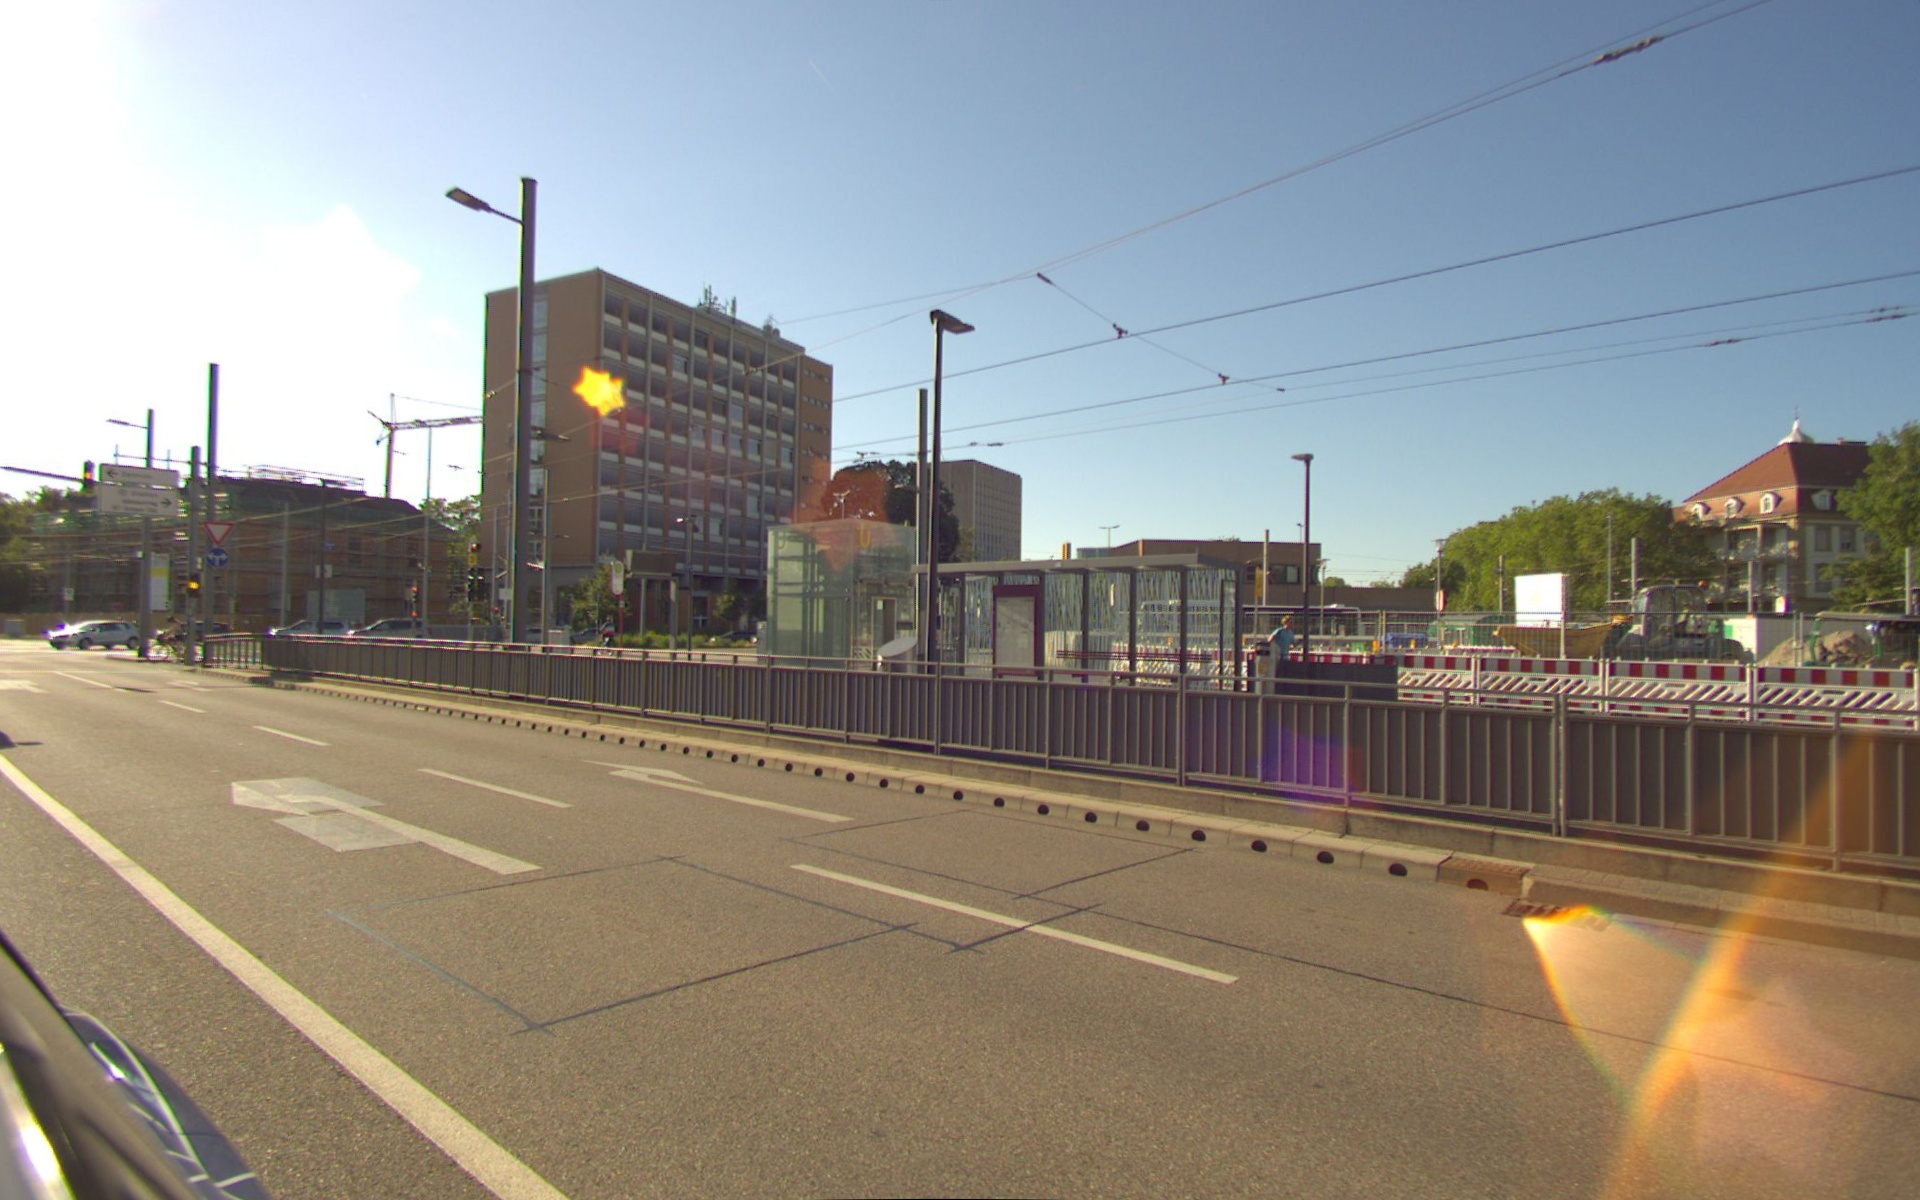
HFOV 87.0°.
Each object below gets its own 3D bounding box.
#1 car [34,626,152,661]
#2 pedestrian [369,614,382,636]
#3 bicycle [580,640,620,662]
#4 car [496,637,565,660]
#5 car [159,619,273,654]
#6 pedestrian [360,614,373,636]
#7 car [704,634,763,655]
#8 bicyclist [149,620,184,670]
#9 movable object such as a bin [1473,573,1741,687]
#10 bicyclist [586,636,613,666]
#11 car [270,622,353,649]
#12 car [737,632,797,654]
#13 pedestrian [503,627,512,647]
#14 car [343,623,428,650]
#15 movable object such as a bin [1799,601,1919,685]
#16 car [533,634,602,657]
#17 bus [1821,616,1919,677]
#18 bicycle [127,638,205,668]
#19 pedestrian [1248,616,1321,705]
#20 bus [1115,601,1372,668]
[{"bbox_3d":[-44.278,2.218,51.798,1.978,1.689,4.269,0,-2,10],"label":"car"},{"bbox_3d":[-46.950,2.019,81.293,0.721,1.752,0.623,3,-2,-38],"label":"pedestrian"},{"bbox_3d":[-17.293,2.457,48.595,1.998,0.949,0.806,-1,2,36],"label":"bicycle"},{"bbox_3d":[-33.566,3.819,79.074,4.628,1.697,2.005,2,-6,-34],"label":"car"},{"bbox_3d":[-46.814,2.358,63.865,5.670,2.029,2.005,3,-6,-35],"label":"car"},{"bbox_3d":[-47.310,1.995,80.693,0.612,1.752,0.666,2,-1,-7],"label":"pedestrian"},{"bbox_3d":[-19.703,3.862,88.210,4.628,1.697,2.005,2,-6,-34],"label":"car"},{"bbox_3d":[-26.553,1.510,33.863,0.814,1.628,0.668,-1,-4,36],"label":"bicyclist"},{"bbox_3d":[15.910,0.859,25.371,5.137,2.545,2.614,-3,-5,23],"label":"movable object such as a bin"},{"bbox_3d":[-17.295,2.457,48.590,0.900,1.354,0.806,-1,2,36],"label":"bicyclist"},{"bbox_3d":[-44.298,2.453,69.282,4.626,1.697,2.006,2,-5,-30],"label":"car"},{"bbox_3d":[-16.459,3.713,86.588,4.628,1.697,2.005,2,-6,-34],"label":"car"},{"bbox_3d":[-36.885,3.015,82.452,0.496,1.648,0.428,3,-6,-42],"label":"pedestrian"},{"bbox_3d":[-37.541,2.423,66.179,4.543,1.701,2.004,2,-3,-39],"label":"car"},{"bbox_3d":[19.007,0.849,19.817,3.862,1.599,1.161,-5,-6,40],"label":"movable object such as a bin"},{"bbox_3d":[-30.153,3.529,77.800,4.628,1.697,2.005,2,-6,-34],"label":"car"},{"bbox_3d":[55.441,2.600,56.440,12.467,3.219,3.255,0,-5,-5],"label":"bus"},{"bbox_3d":[-26.555,1.796,33.876,0.814,0.949,1.872,0,-4,36],"label":"bicycle"},{"bbox_3d":[6.760,1.272,21.116,1.179,1.782,0.793,-5,-6,41],"label":"pedestrian"},{"bbox_3d":[14.567,1.805,52.411,12.467,3.219,2.844,0,-5,-5],"label":"bus"}]
